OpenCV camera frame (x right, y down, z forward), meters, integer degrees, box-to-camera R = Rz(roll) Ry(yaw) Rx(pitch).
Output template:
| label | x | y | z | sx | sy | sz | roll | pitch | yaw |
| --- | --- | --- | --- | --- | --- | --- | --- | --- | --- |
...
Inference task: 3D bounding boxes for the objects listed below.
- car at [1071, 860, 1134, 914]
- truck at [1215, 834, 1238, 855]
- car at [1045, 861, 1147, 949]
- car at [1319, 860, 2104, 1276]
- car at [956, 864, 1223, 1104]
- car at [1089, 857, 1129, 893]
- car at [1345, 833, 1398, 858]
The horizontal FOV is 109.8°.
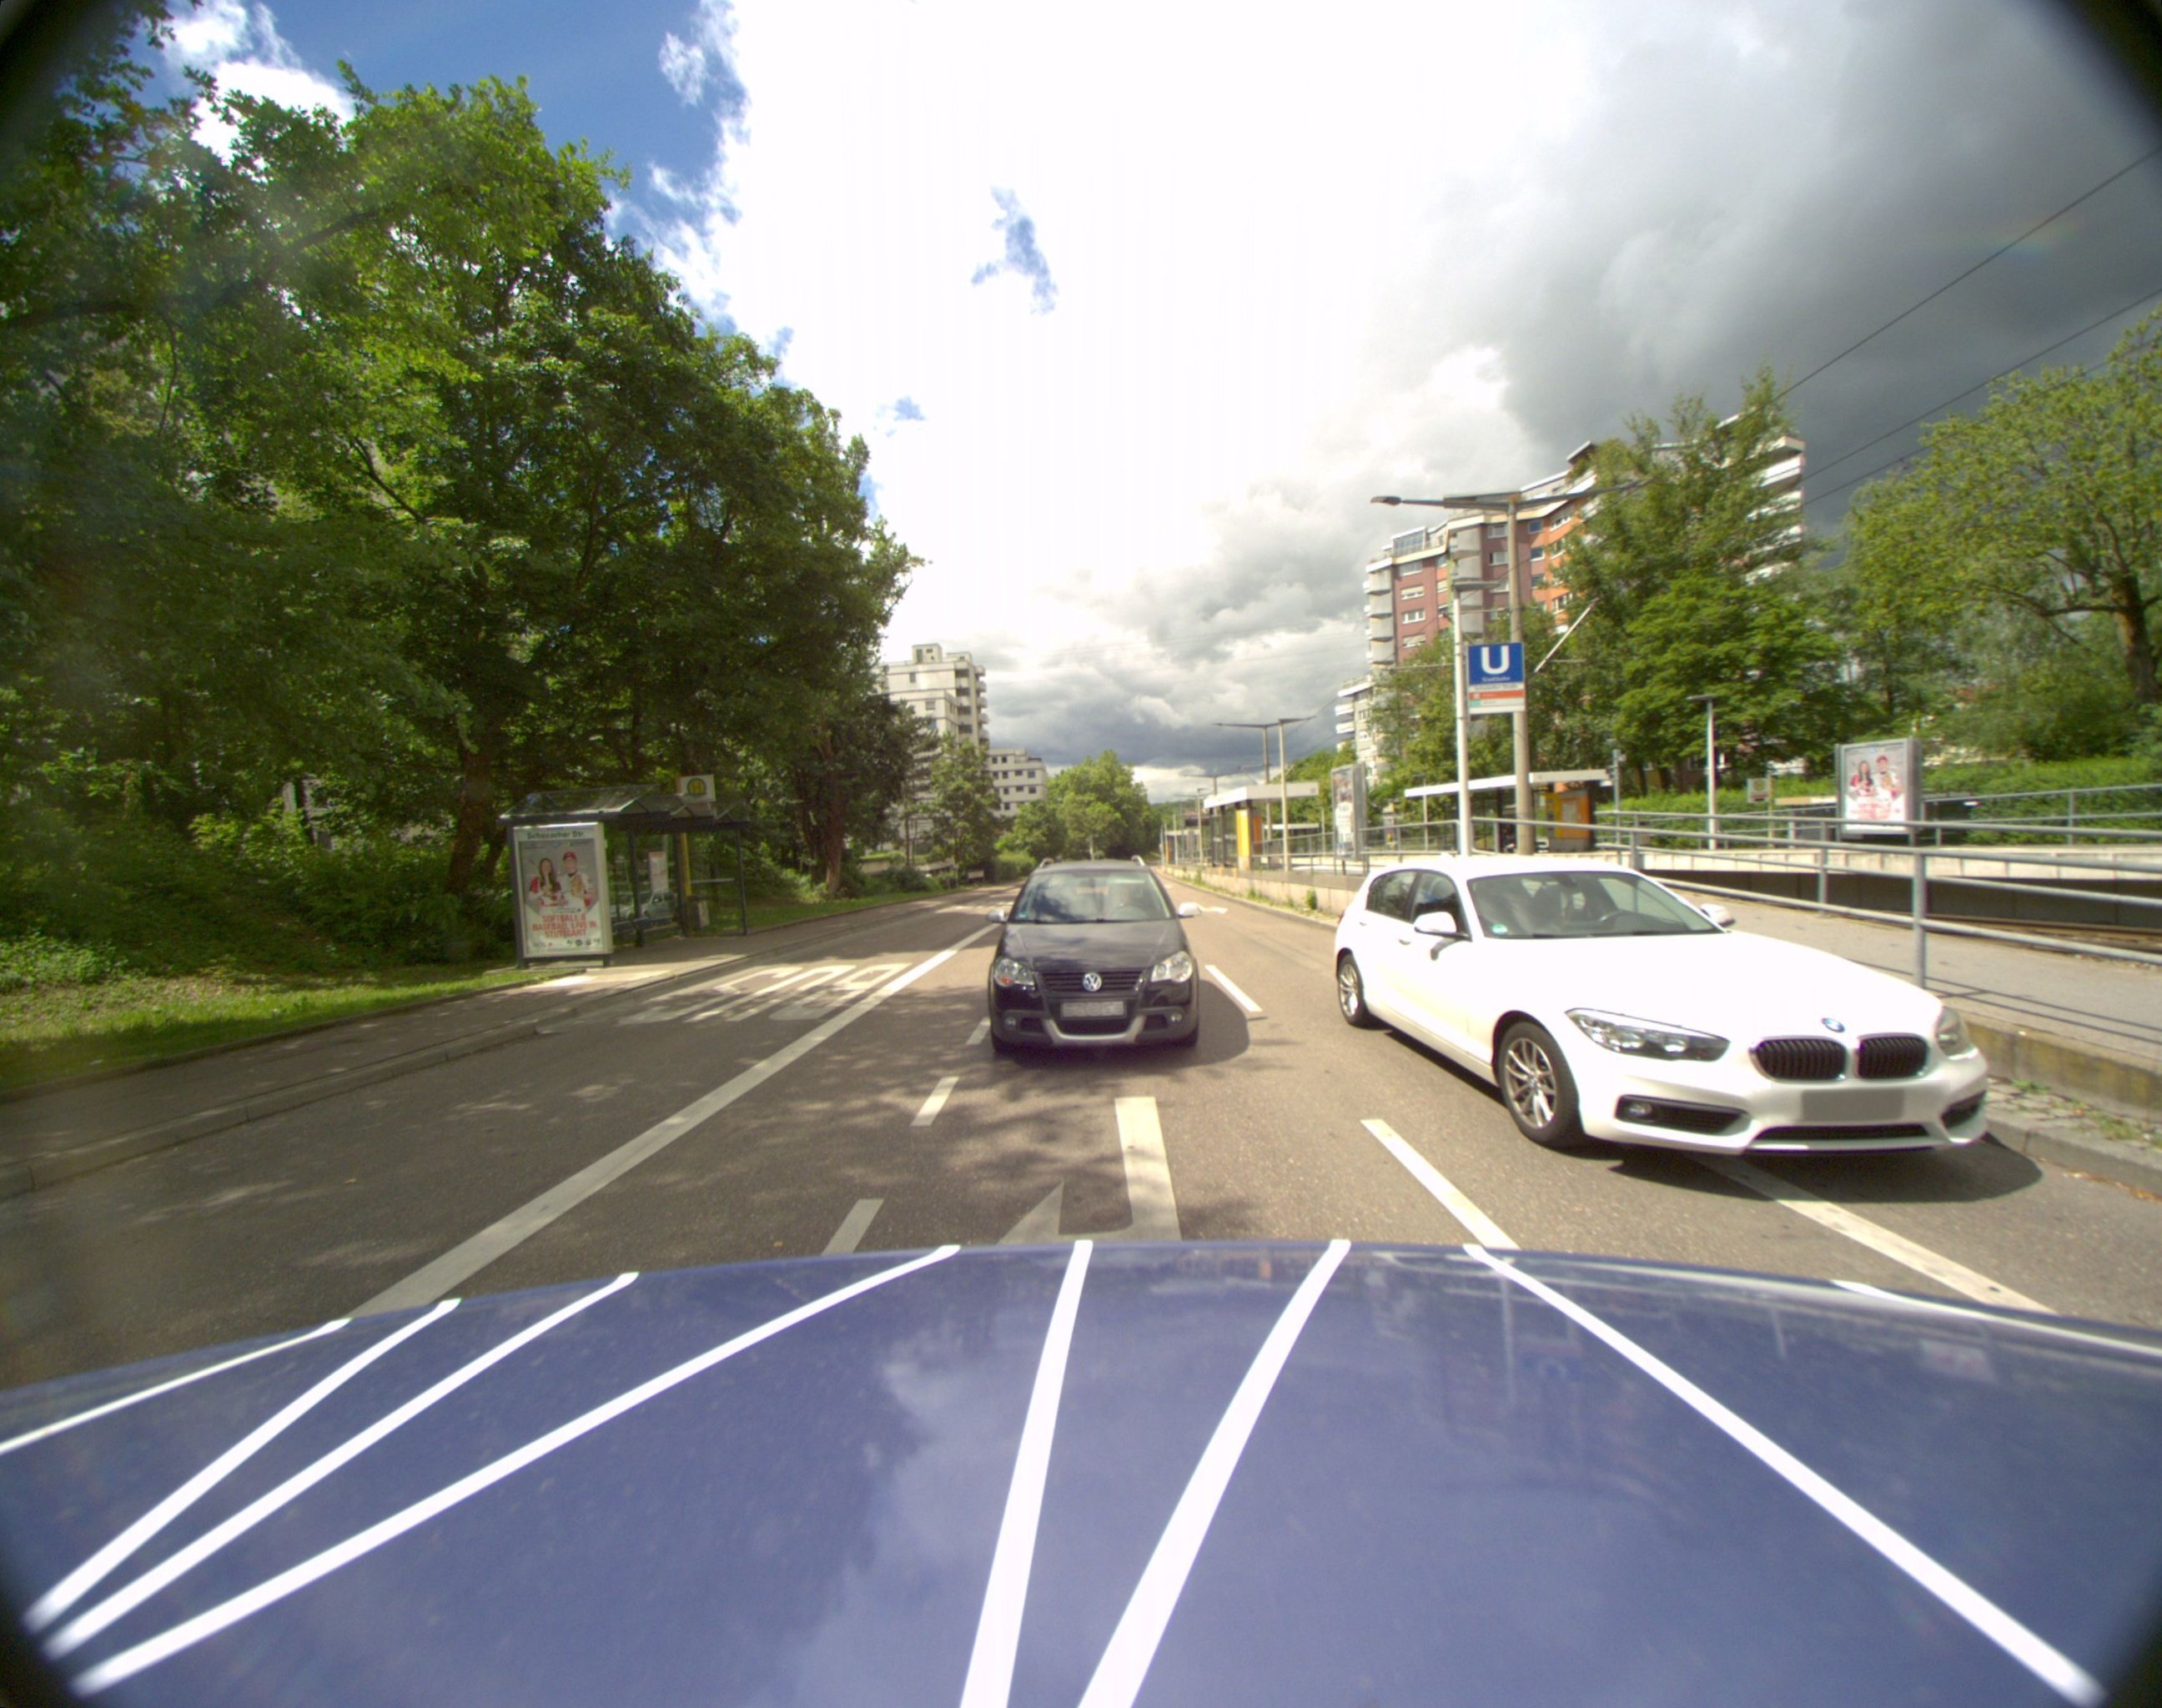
| label | x | y | z | sx | sy | sz | roll | pitch | yaw |
| --- | --- | --- | --- | --- | --- | --- | --- | --- | --- |
| car | 0.707 | 0.943 | 23.301 | 1.732 | 1.452 | 4.001 | -2 | 0 | 3 |
| truck | 24.243 | -1.487 | 126.614 | 2.420 | 3.203 | 7.263 | -2 | 0 | 1 |
| car | 0.299 | 0.913 | 15.356 | 1.732 | 1.453 | 4.000 | -2 | 0 | 1 |
| car | 3.022 | 0.833 | 4.882 | 1.732 | 1.453 | 4.000 | -2 | 1 | 1 |
| car | 0.087 | 0.895 | 7.084 | 1.732 | 1.501 | 4.000 | -2 | 0 | 1 |
| car | 1.292 | 0.950 | 35.950 | 1.732 | 1.505 | 4.000 | -2 | 1 | 1 |
| car | 19.894 | -0.587 | 52.233 | 1.998 | 1.625 | 4.460 | -1 | 0 | 2 |
